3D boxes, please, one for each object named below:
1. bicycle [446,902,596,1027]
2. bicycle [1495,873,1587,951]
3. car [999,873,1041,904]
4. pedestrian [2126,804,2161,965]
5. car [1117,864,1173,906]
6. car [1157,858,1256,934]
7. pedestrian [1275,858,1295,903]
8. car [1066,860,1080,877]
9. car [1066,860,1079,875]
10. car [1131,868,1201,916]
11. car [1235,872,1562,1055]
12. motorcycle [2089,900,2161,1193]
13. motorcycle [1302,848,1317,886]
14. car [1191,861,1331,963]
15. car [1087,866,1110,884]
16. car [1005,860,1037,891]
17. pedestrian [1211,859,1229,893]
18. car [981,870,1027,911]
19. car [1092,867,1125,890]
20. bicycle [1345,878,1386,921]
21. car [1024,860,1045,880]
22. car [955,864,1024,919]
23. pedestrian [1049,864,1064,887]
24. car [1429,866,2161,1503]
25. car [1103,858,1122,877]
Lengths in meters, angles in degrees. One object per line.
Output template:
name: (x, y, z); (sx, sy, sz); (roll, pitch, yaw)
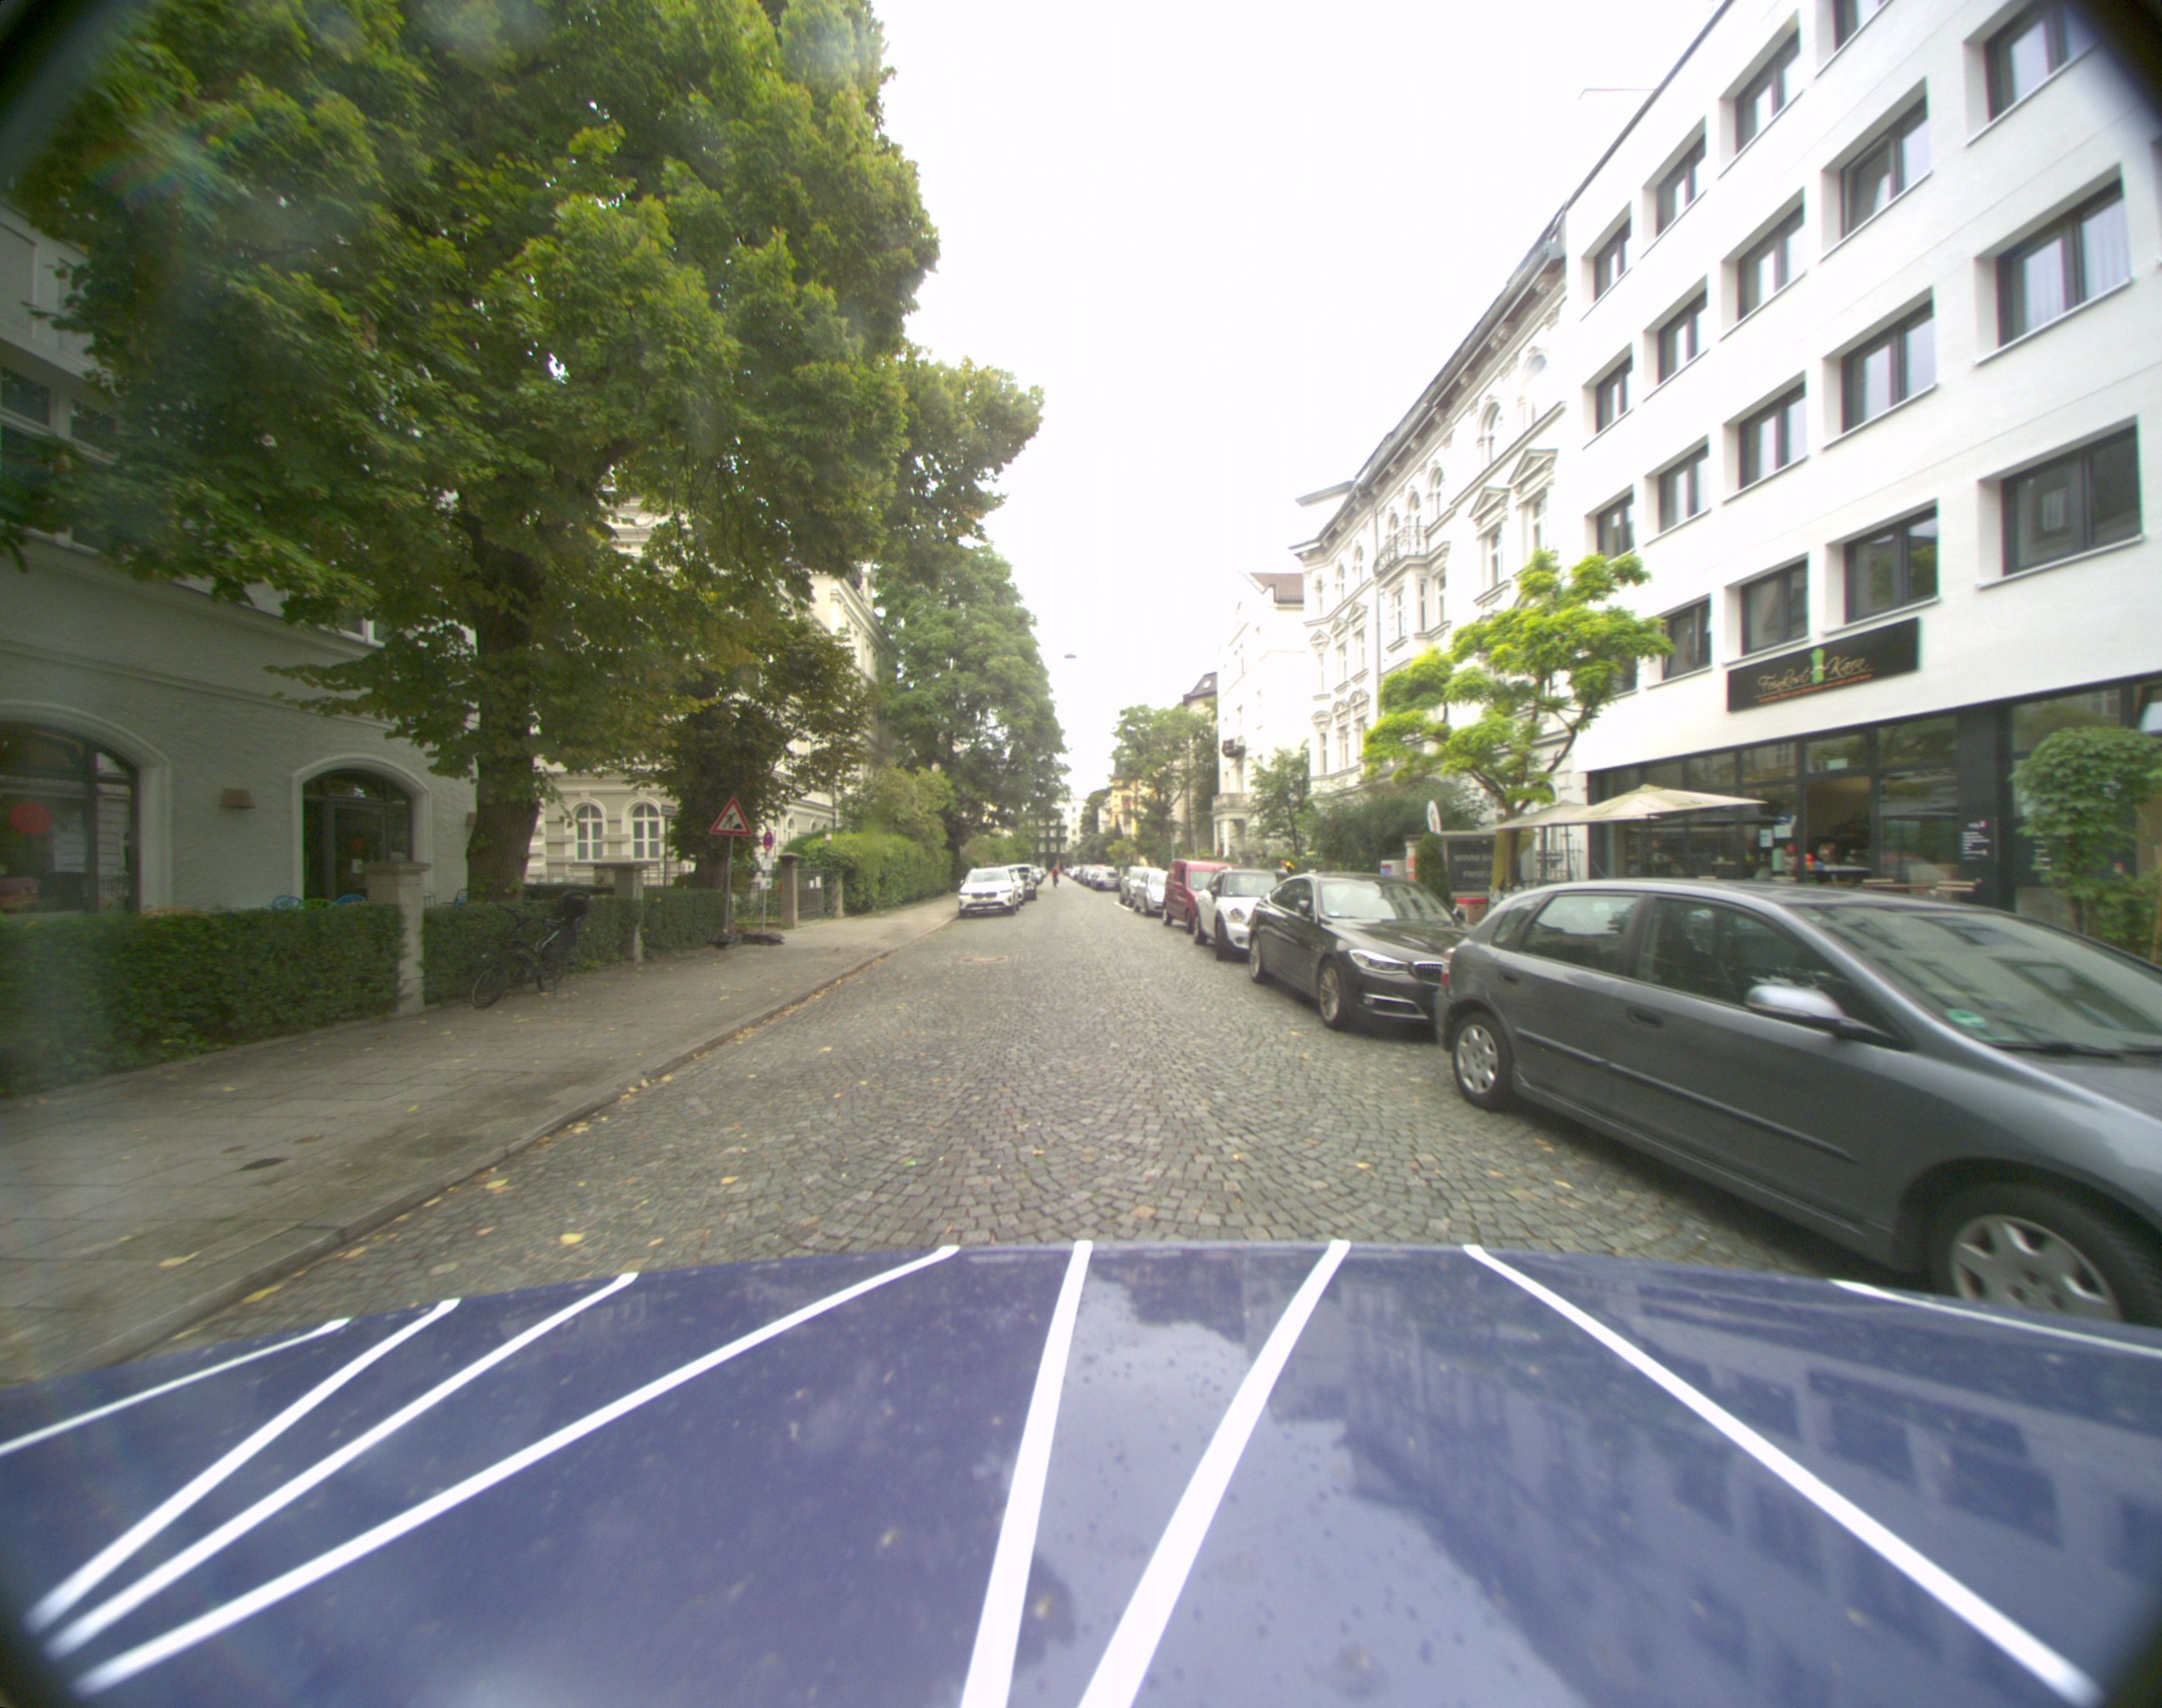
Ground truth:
bicycle: (-6.419, 1.215, 8.826); (0.429, 1.191, 1.730); (4, 0, -1)
bicycle: (7.715, 0.936, 12.836); (0.361, 1.168, 1.911); (-2, 0, 0)
car: (-3.061, 1.709, 38.741); (1.924, 1.290, 4.808); (-2, 0, -3)
pedestrian: (11.347, 0.289, 7.601); (0.556, 1.650, 0.783); (-4, -2, 0)
car: (2.588, 1.224, 31.546); (1.694, 1.563, 4.067); (-2, 0, -4)
car: (3.036, 0.965, 19.174); (1.722, 1.713, 3.898); (0, 0, -2)
pedestrian: (7.551, 0.991, 28.117); (0.577, 1.637, 0.822); (-1, 0, 5)
car: (-1.061, 1.865, 97.005); (1.763, 2.002, 3.999); (-2, 0, -1)
car: (-1.180, 1.916, 106.711); (1.791, 2.002, 3.214); (-2, 0, -1)
car: (2.728, 1.196, 25.216); (1.636, 1.386, 3.815); (-2, 0, -4)
car: (3.118, 0.976, 8.599); (1.730, 1.456, 4.473); (1, -1, -1)
motorcycle: (5.483, 0.907, 2.813); (0.676, 1.361, 2.058); (-2, 0, -4)
motorcycle: (7.166, 0.394, 23.858); (0.331, 1.173, 1.627); (-2, 0, 14)
car: (3.049, 0.915, 13.626); (1.697, 1.495, 3.777); (-2, 0, 2)
car: (1.453, 1.768, 65.117); (1.714, 1.416, 3.999); (-2, 0, -1)
car: (-4.046, 1.427, 51.866); (1.819, 1.809, 4.807); (-5, 0, -3)
pedestrian: (6.845, 1.070, 37.421); (0.665, 1.618, 0.670); (-2, 0, 30)
car: (-3.361, 1.573, 33.847); (1.752, 1.591, 4.471); (-2, 0, -3)
car: (1.888, 1.719, 53.479); (1.886, 1.410, 4.808); (2, 0, -3)
bicycle: (7.508, 1.189, 20.116); (0.258, 1.072, 1.685); (-2, -1, -6)
car: (-4.782, 1.654, 78.779); (1.999, 2.002, 3.999); (-2, 0, -1)
car: (-3.137, 1.243, 27.001); (1.925, 1.676, 4.633); (-1, 0, -1)
pedestrian: (-1.916, 1.665, 60.411); (1.106, 1.767, 1.263); (-2, 0, -1)
car: (3.363, 0.837, 3.250); (1.666, 1.474, 3.981); (-2, 0, -4)
car: (3.375, 1.414, 83.049); (1.763, 2.002, 3.999); (-2, 0, -1)
